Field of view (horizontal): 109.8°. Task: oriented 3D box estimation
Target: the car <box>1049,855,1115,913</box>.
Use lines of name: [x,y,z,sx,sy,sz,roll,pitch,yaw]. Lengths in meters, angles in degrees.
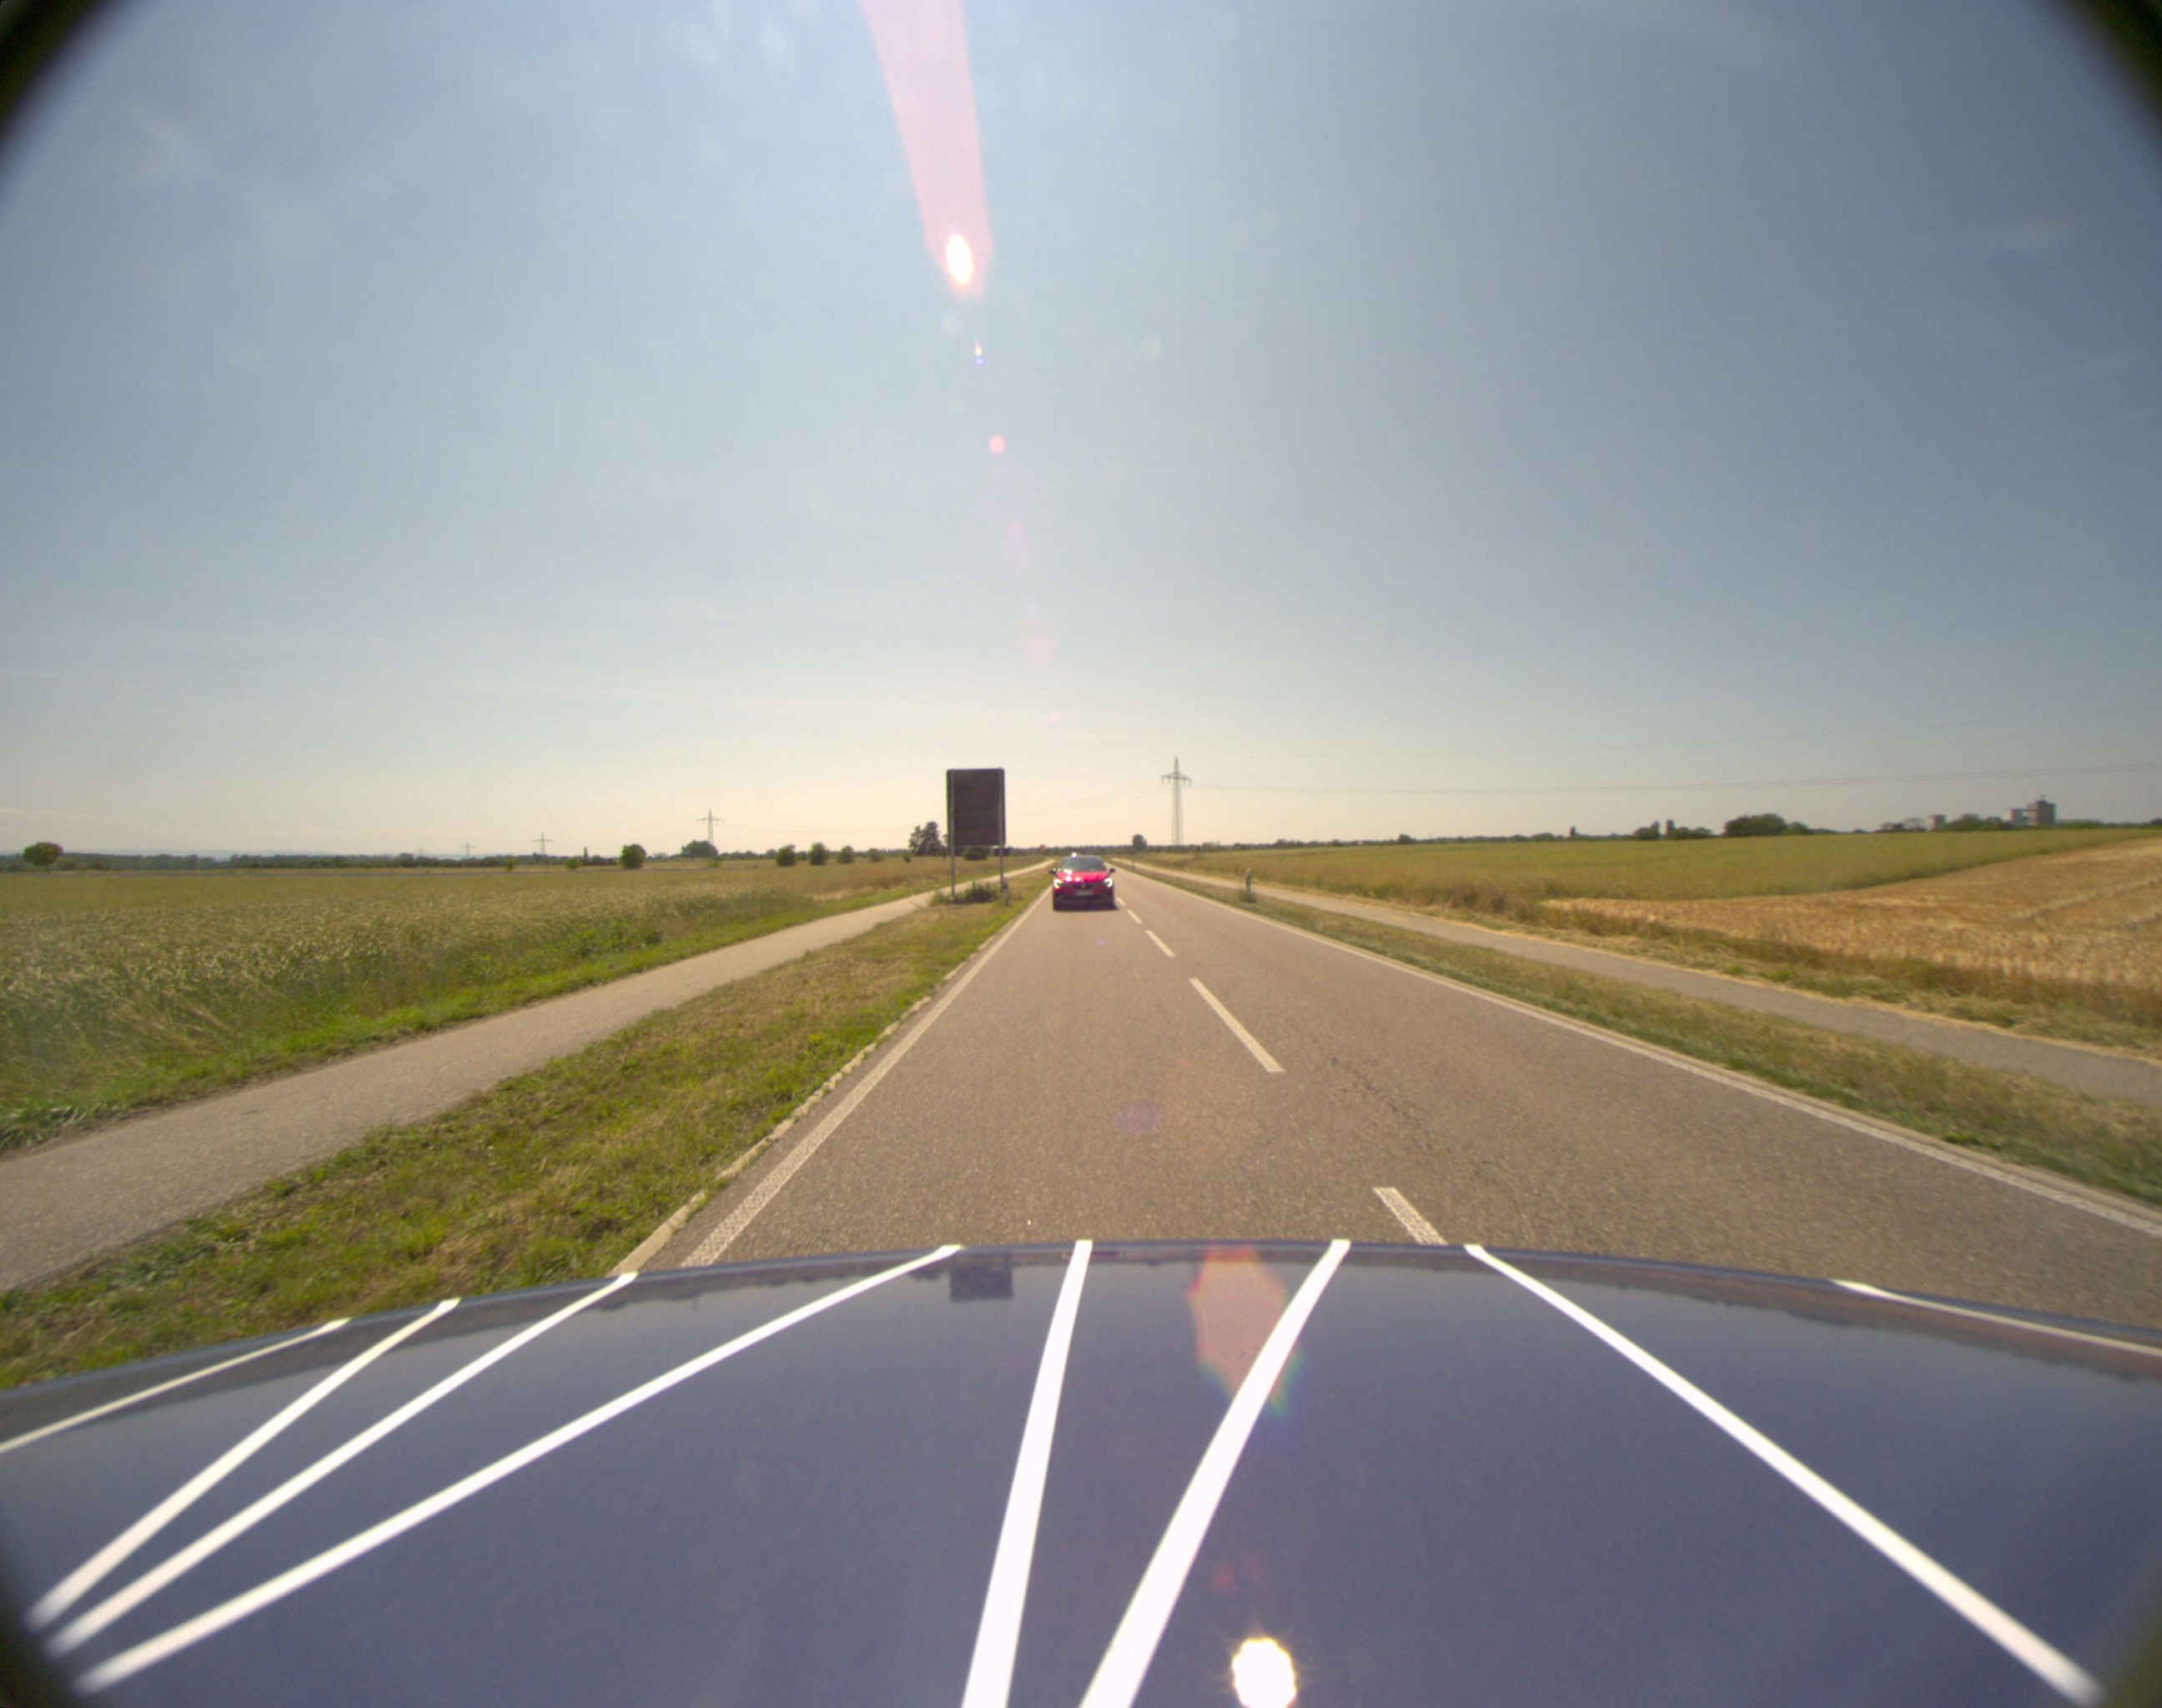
car: [0.062,0.847,23.753,1.826,1.543,4.449,-2,1,1]
